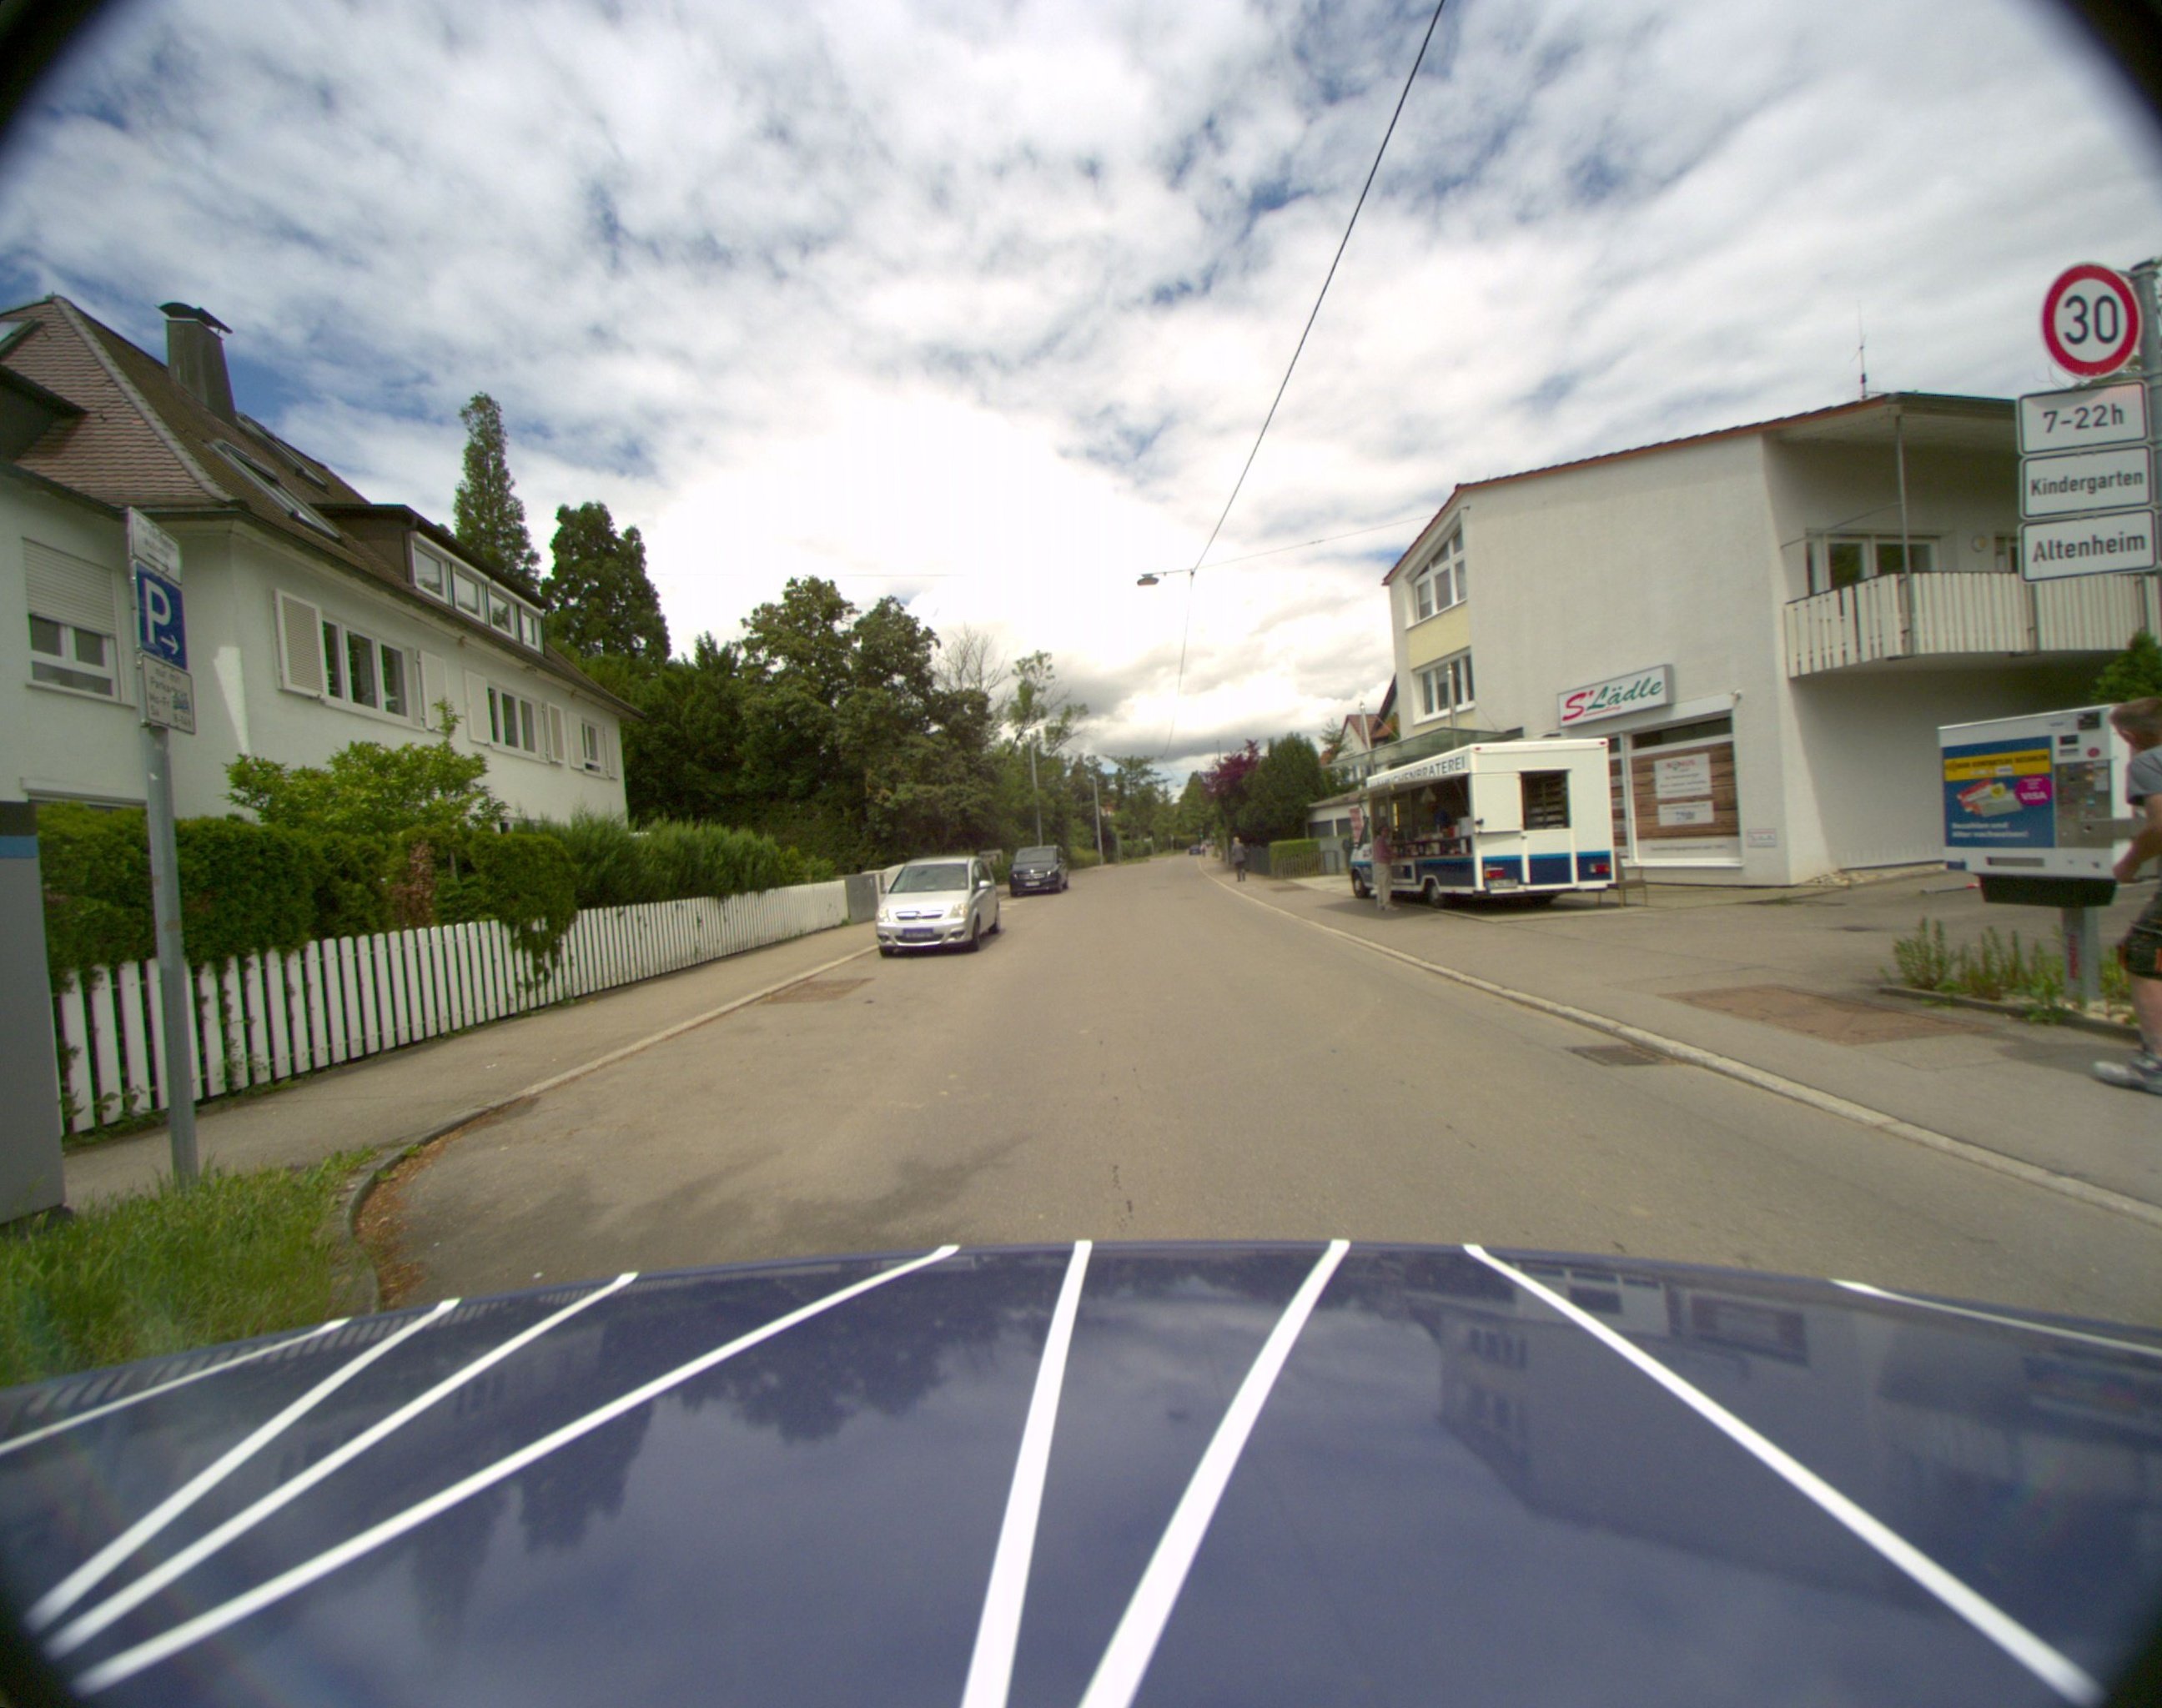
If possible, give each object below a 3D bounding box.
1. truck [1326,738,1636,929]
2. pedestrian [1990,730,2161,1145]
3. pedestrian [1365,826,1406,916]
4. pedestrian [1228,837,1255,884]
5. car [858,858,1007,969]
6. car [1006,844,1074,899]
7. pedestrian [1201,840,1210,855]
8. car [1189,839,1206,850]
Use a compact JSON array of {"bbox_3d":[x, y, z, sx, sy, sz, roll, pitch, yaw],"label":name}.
[{"bbox_3d":[7.366,-0.353,15.271,2.479,2.824,6.706,-4,1,-1],"label":"truck"},{"bbox_3d":[5.330,0.363,3.493,0.734,1.934,1.218,-6,1,5],"label":"pedestrian"},{"bbox_3d":[5.976,0.325,14.934,0.402,1.685,0.597,-6,1,-1],"label":"pedestrian"},{"bbox_3d":[6.201,0.240,29.468,0.724,1.678,1.109,-6,3,5],"label":"pedestrian"},{"bbox_3d":[-2.492,0.933,13.748,1.763,1.573,4.018,-3,1,1],"label":"car"},{"bbox_3d":[-1.504,0.611,30.157,1.913,1.838,5.158,-4,1,4],"label":"car"},{"bbox_3d":[14.413,-0.747,87.832,0.821,1.734,0.604,-6,1,10],"label":"pedestrian"},{"bbox_3d":[17.847,-1.470,116.329,1.695,1.424,3.930,-1,5,22],"label":"car"}]
